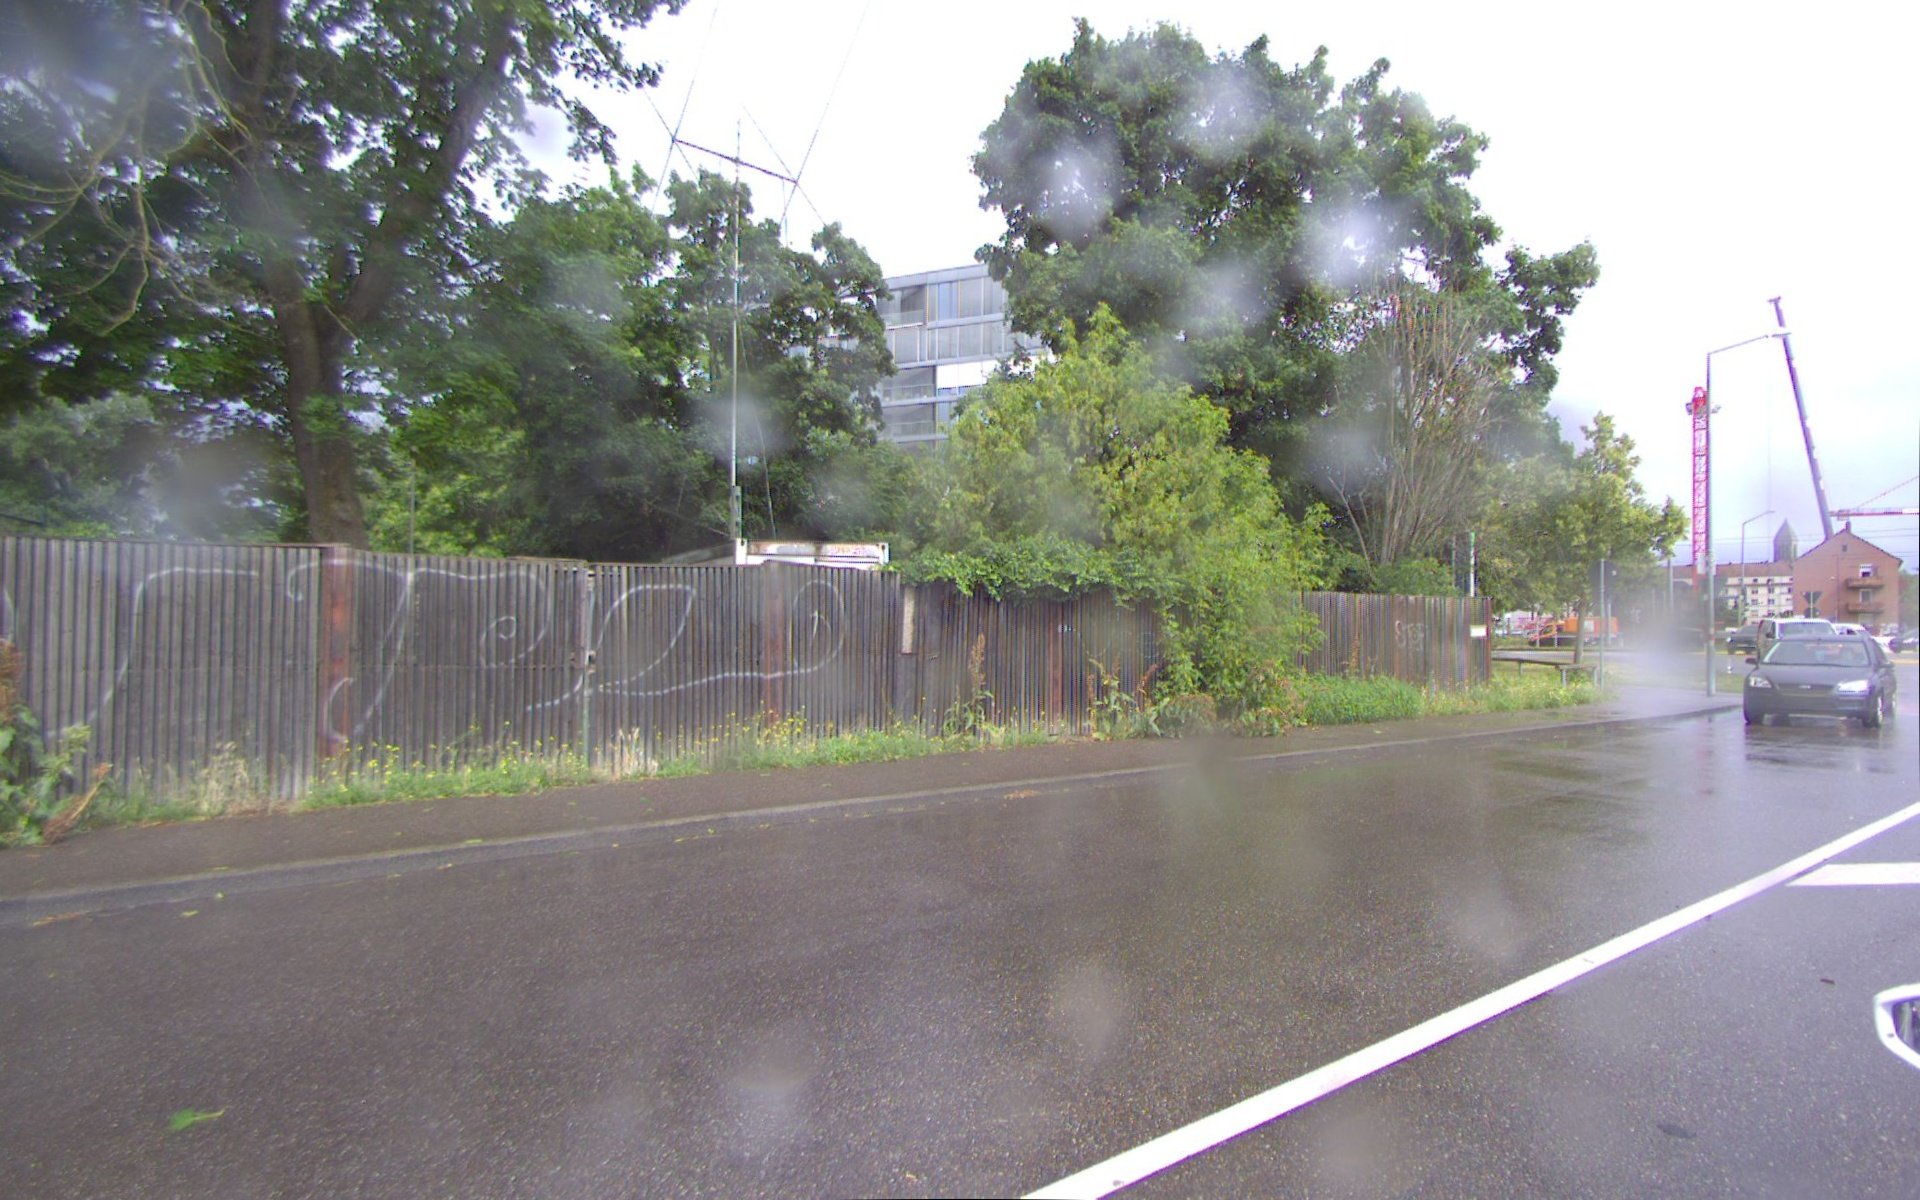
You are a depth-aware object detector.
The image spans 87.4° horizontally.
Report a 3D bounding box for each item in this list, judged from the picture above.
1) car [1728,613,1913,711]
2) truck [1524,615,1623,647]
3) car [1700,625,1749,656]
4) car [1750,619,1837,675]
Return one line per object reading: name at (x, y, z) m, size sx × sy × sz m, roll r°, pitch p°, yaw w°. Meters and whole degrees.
car at (15.141, 1.043, 17.609) m, size 4.145 × 1.502 × 1.858 m, roll 2°, pitch -2°, yaw -41°
truck at (50.433, 2.530, 82.731) m, size 2.407 × 2.475 × 6.666 m, roll 1°, pitch -1°, yaw -32°
car at (42.965, 2.236, 56.518) m, size 1.709 × 1.686 × 4.101 m, roll 0°, pitch -1°, yaw 30°
car at (30.532, 1.667, 36.933) m, size 1.862 × 1.901 × 5.119 m, roll 0°, pitch -2°, yaw 33°
